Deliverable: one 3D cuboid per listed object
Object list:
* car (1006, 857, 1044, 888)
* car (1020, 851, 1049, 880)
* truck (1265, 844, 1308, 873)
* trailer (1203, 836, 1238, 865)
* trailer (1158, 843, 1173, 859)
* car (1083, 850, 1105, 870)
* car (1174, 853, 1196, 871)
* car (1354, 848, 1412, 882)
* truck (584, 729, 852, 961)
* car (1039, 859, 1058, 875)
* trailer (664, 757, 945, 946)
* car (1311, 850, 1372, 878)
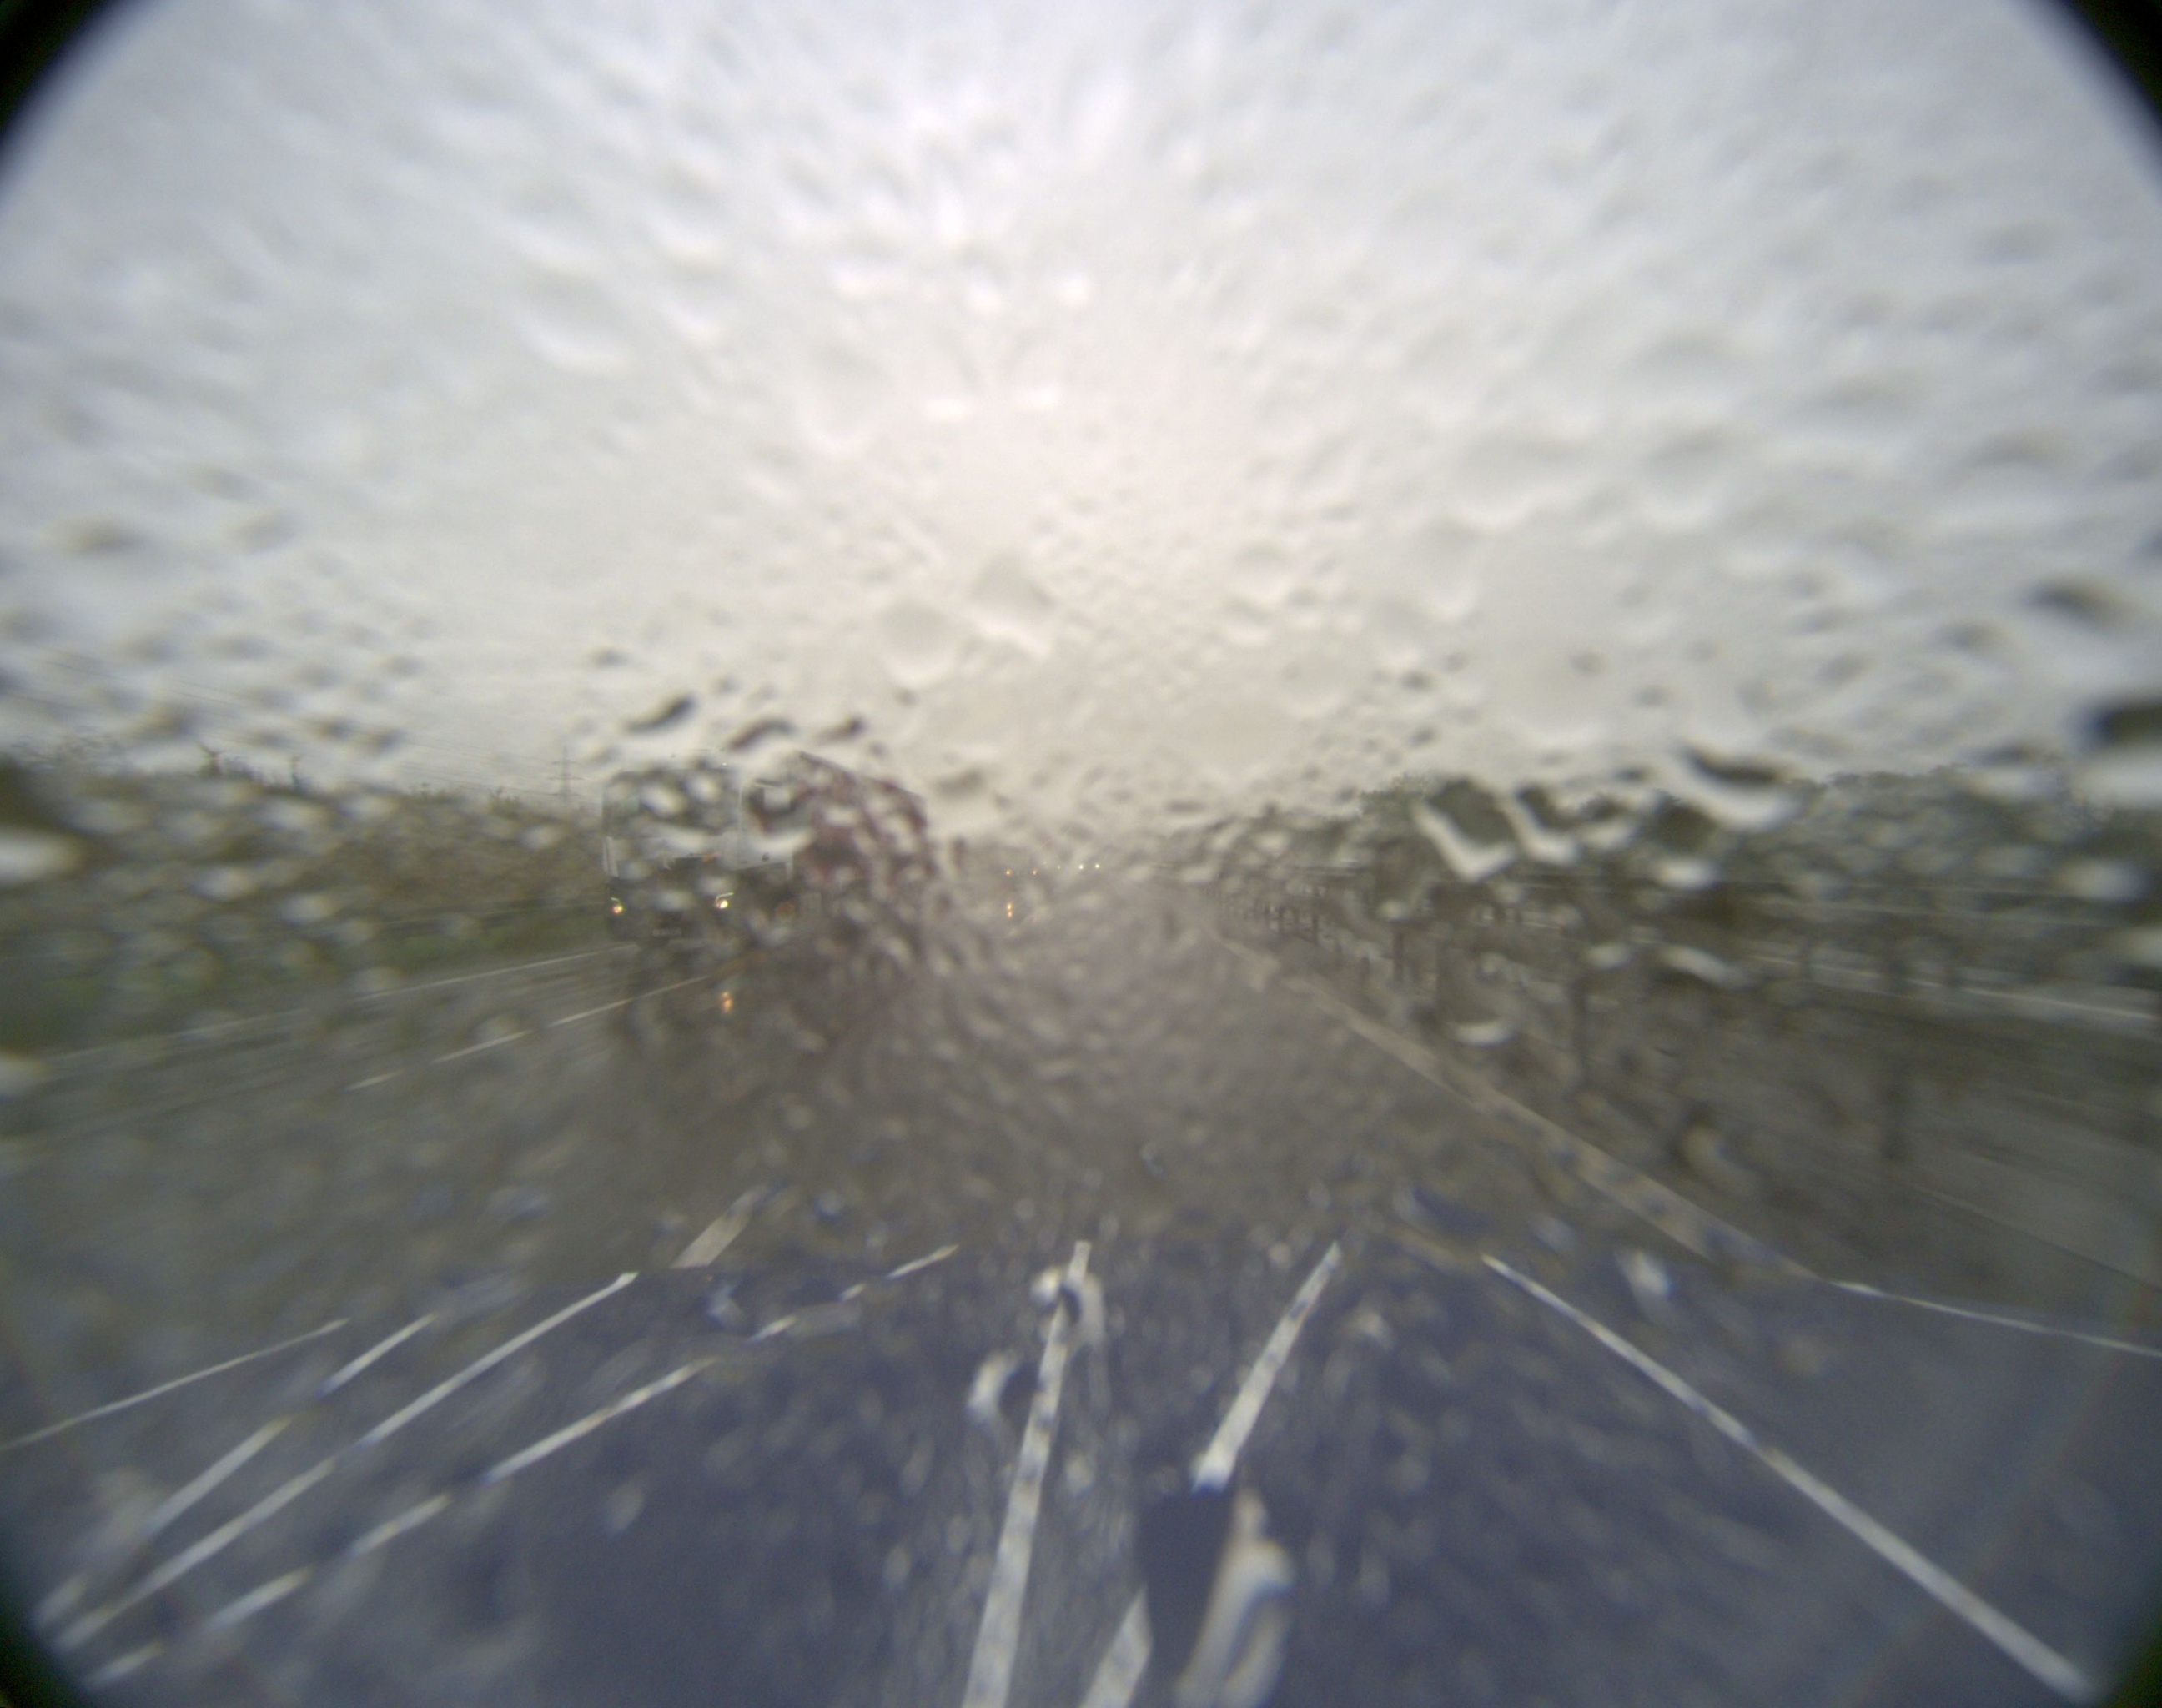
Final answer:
[{"bbox_3d":[-2.929,0.925,40.571,1.663,1.491,3.836,-2,0,1],"label":"car"},{"bbox_3d":[-2.824,0.676,46.239,1.517,1.606,3.186,-2,0,0],"label":"car"},{"bbox_3d":[19.827,0.372,73.634,2.333,2.604,6.263,-2,0,0],"label":"truck"},{"bbox_3d":[20.260,-0.511,111.375,2.640,3.782,13.584,-2,0,1],"label":"trailer"},{"bbox_3d":[21.471,-0.757,193.109,2.301,3.782,13.611,-2,0,1],"label":"trailer"},{"bbox_3d":[1.173,0.536,70.278,1.845,1.671,4.000,-2,0,0],"label":"car"},{"bbox_3d":[12.574,0.958,92.159,1.998,2.092,4.766,-2,0,0],"label":"car"},{"bbox_3d":[19.621,0.679,49.594,1.998,2.092,4.385,-2,0,0],"label":"car"},{"bbox_3d":[-7.133,-0.156,16.074,2.458,3.866,6.199,-2,0,1],"label":"truck"},{"bbox_3d":[-3.675,1.401,85.959,1.845,1.671,4.000,-2,0,0],"label":"car"},{"bbox_3d":[-7.074,-0.059,23.666,2.486,3.743,16.543,-2,0,0],"label":"trailer"},{"bbox_3d":[15.429,0.576,45.337,1.998,1.522,4.654,-2,0,0],"label":"car"}]
